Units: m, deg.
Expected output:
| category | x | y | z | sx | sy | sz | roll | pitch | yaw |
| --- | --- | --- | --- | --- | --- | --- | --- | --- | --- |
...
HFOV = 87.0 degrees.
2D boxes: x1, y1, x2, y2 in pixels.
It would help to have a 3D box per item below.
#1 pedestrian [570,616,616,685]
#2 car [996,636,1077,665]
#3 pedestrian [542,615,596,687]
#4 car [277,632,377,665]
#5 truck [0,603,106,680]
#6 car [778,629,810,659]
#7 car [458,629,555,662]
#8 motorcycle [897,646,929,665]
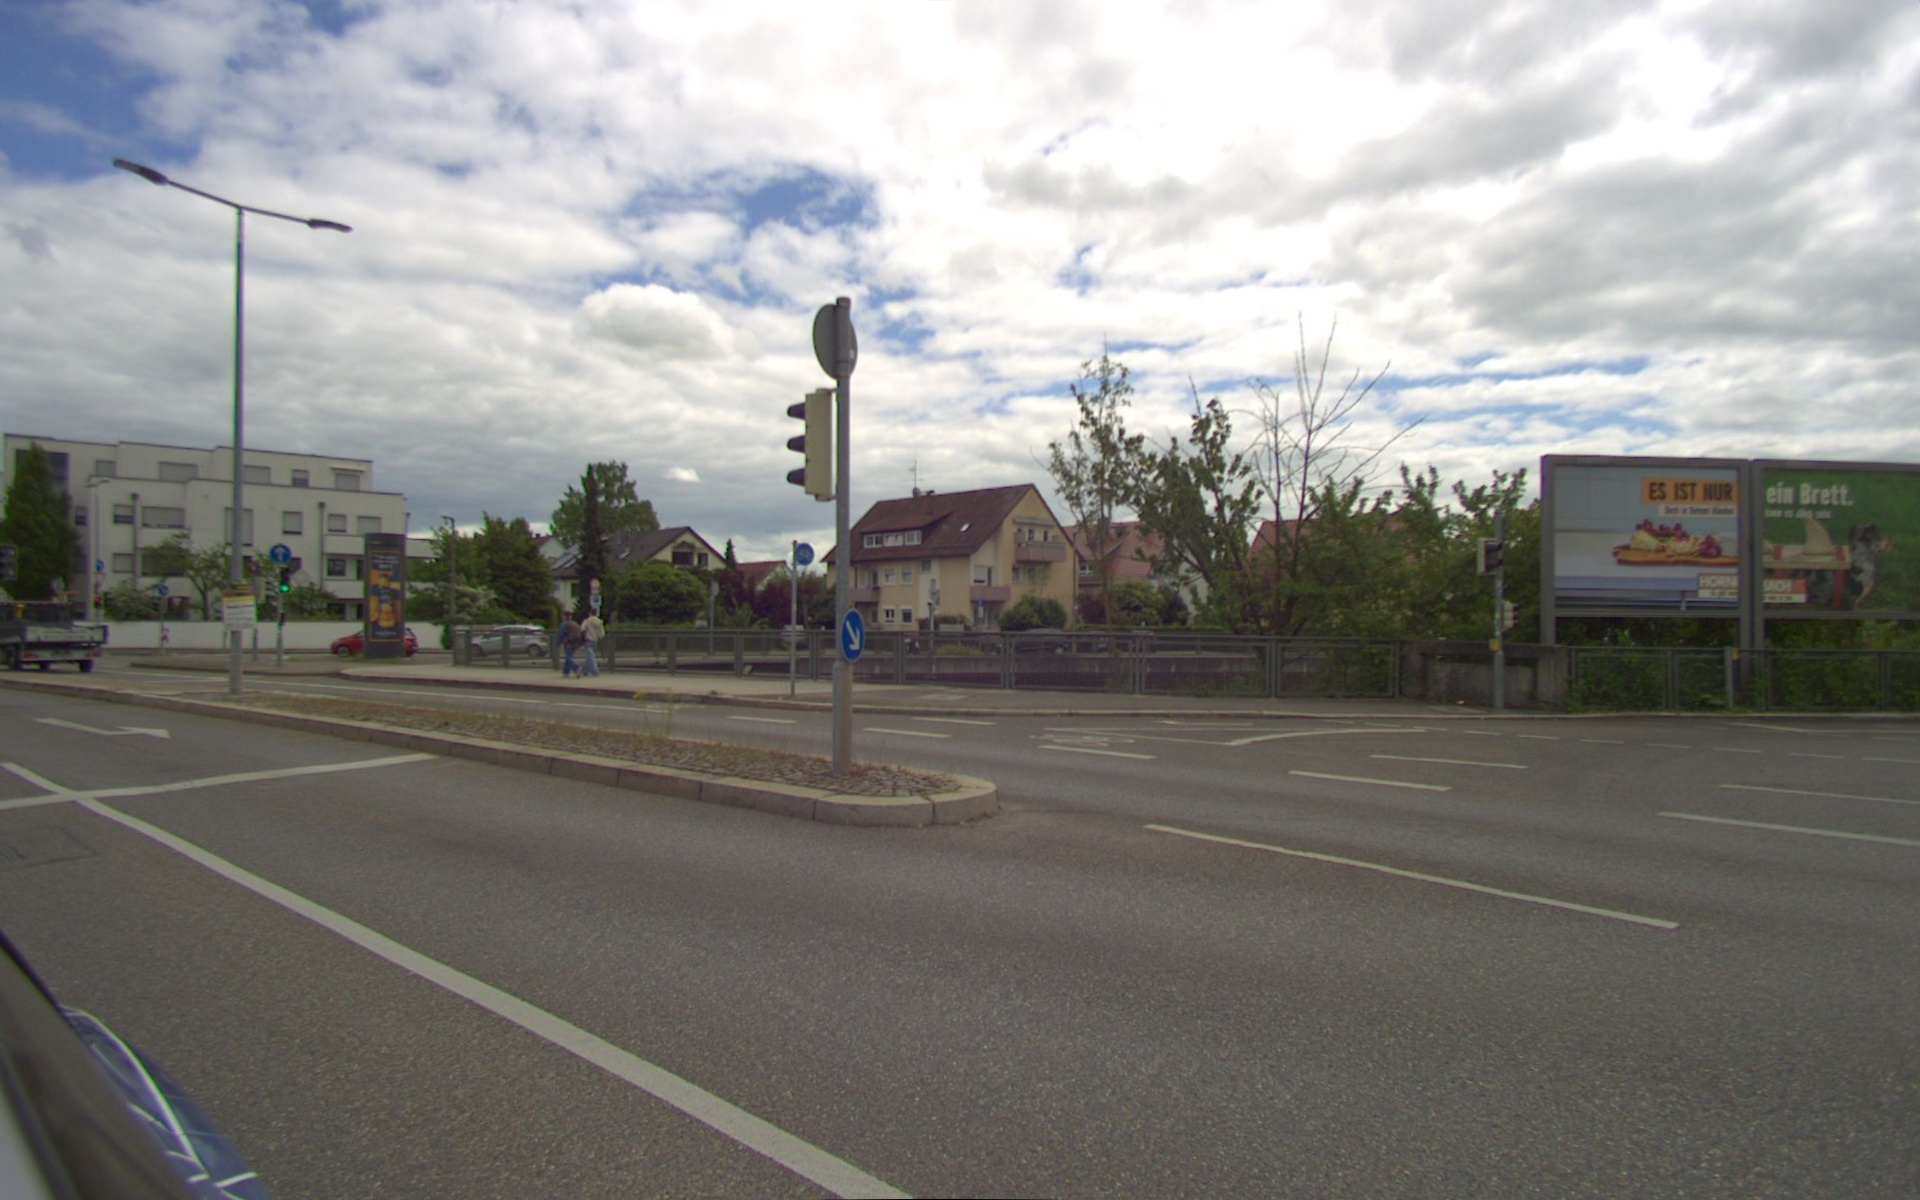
| category | x | y | z | sx | sy | sz | roll | pitch | yaw |
| --- | --- | --- | --- | --- | --- | --- | --- | --- | --- |
| pedestrian | -8.944 | 1.217 | 24.667 | 0.829 | 1.646 | 0.652 | -1 | -1 | 28 |
| car | 4.366 | 2.868 | 58.075 | 4.306 | 1.619 | 2.004 | 0 | -2 | -8 |
| pedestrian | -9.301 | 1.199 | 24.073 | 1.066 | 1.646 | 0.652 | -1 | -1 | 28 |
| car | -30.477 | 2.326 | 48.827 | 3.642 | 1.458 | 1.780 | 2 | -2 | -12 |
| truck | -30.038 | 1.304 | 32.645 | 6.789 | 2.282 | 2.107 | -1 | -2 | 35 |
| car | -10.188 | 2.677 | 62.198 | 1.758 | 1.592 | 4.007 | -2 | 1 | -8 |
| car | -22.455 | 2.266 | 50.229 | 4.062 | 1.547 | 1.651 | 2 | -3 | -11 |
| motorcycle | -2.672 | 3.127 | 57.172 | 0.691 | 1.007 | 2.126 | 6 | -5 | -37 |
